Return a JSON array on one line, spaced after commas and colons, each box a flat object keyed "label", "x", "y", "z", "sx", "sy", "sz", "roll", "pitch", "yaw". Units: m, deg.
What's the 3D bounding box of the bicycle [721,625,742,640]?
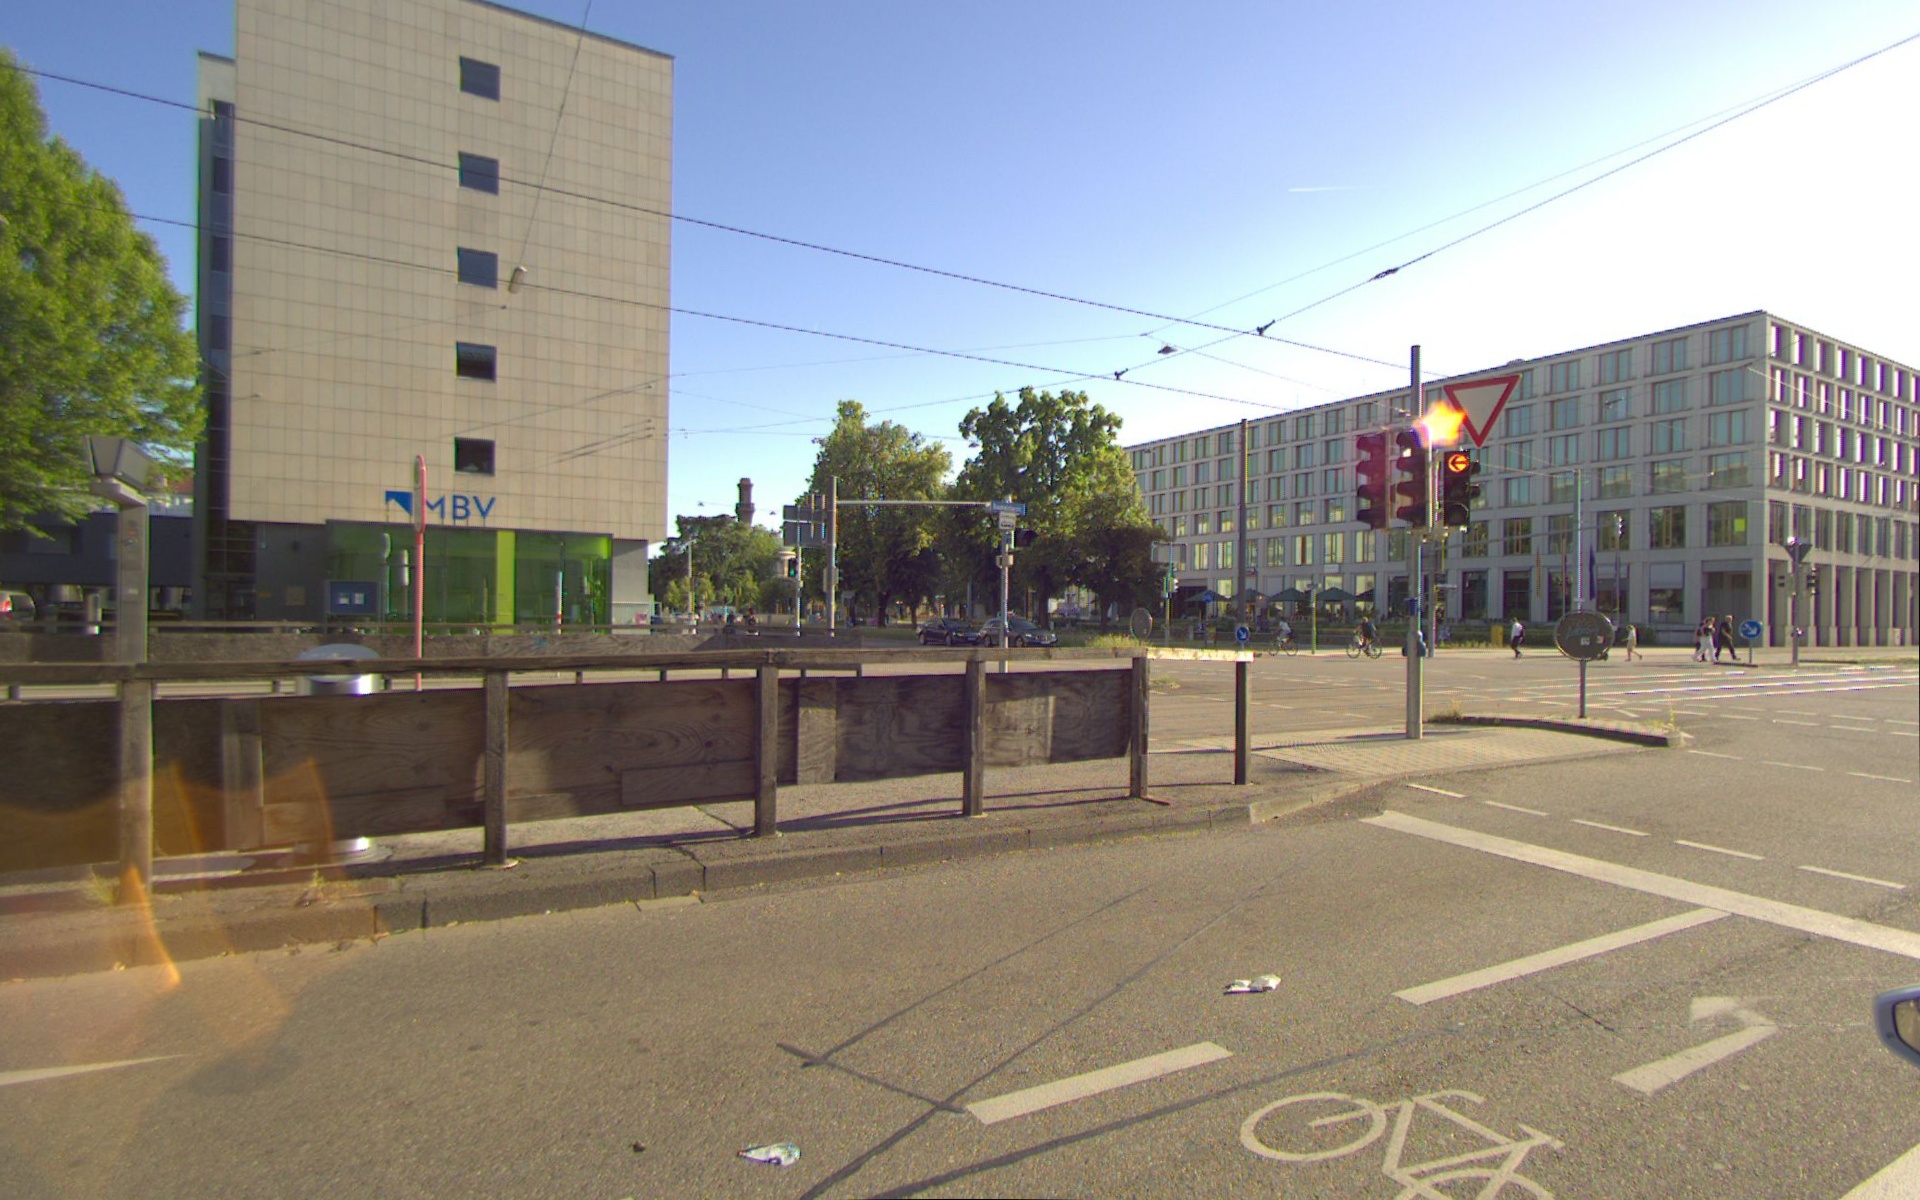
[{"label": "bicycle", "x": -15.444, "y": 2.169, "z": 67.833, "sx": 0.818, "sy": 0.973, "sz": 2.132, "roll": 1, "pitch": -1, "yaw": -31}]

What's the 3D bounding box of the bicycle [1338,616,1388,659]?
[{"label": "bicycle", "x": 16.920, "y": 1.578, "z": 42.232, "sx": 0.593, "sy": 1.758, "sz": 1.879, "roll": 1, "pitch": -1, "yaw": -44}]

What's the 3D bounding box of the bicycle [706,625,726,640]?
[{"label": "bicycle", "x": -16.331, "y": 2.152, "z": 67.069, "sx": 0.669, "sy": 0.973, "sz": 2.131, "roll": 1, "pitch": -1, "yaw": -32}]

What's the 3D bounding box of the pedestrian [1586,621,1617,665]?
[{"label": "pedestrian", "x": 27.050, "y": 1.798, "z": 42.351, "sx": 0.654, "sy": 1.827, "sz": 0.868, "roll": 1, "pitch": -1, "yaw": -24}]

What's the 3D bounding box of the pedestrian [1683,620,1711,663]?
[{"label": "pedestrian", "x": 29.313, "y": 1.649, "z": 39.949, "sx": 0.614, "sy": 1.666, "sz": 0.691, "roll": 1, "pitch": -1, "yaw": -29}]

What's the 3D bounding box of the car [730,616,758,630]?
[{"label": "car", "x": -22.498, "y": 2.379, "z": 104.433, "sx": 1.614, "sy": 1.452, "sz": 4.021, "roll": 3, "pitch": -2, "yaw": -31}]

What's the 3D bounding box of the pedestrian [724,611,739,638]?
[{"label": "pedestrian", "x": -15.431, "y": 1.648, "z": 67.828, "sx": 0.818, "sy": 1.829, "sz": 0.754, "roll": 1, "pitch": -1, "yaw": -31}]

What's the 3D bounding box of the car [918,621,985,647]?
[{"label": "car", "x": -0.506, "y": 1.794, "z": 53.356, "sx": 1.755, "sy": 1.311, "sz": 4.209, "roll": 1, "pitch": -1, "yaw": -30}]

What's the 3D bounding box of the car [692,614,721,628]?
[{"label": "car", "x": -29.260, "y": 2.405, "z": 115.840, "sx": 1.978, "sy": 1.433, "sz": 4.710, "roll": 4, "pitch": -2, "yaw": -31}]

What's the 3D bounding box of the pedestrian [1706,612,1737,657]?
[{"label": "pedestrian", "x": 30.479, "y": 1.372, "z": 40.202, "sx": 0.668, "sy": 1.784, "sz": 0.746, "roll": 2, "pitch": -2, "yaw": -25}]

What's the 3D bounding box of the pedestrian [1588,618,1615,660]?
[{"label": "pedestrian", "x": 28.072, "y": 1.692, "z": 43.970, "sx": 0.706, "sy": 1.827, "sz": 0.737, "roll": 1, "pitch": -1, "yaw": -24}]

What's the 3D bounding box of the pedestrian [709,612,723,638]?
[{"label": "pedestrian", "x": -16.276, "y": 1.670, "z": 67.001, "sx": 0.666, "sy": 1.739, "sz": 0.754, "roll": 1, "pitch": -1, "yaw": -32}]

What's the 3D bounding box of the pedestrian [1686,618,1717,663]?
[{"label": "pedestrian", "x": 27.996, "y": 1.520, "z": 37.926, "sx": 0.615, "sy": 1.666, "sz": 0.787, "roll": 1, "pitch": -1, "yaw": -34}]

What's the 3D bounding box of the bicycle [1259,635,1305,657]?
[{"label": "bicycle", "x": 14.658, "y": 2.081, "z": 45.782, "sx": 0.569, "sy": 0.945, "sz": 2.049, "roll": 1, "pitch": -1, "yaw": -37}]

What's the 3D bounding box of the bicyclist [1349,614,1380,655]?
[{"label": "bicyclist", "x": 16.982, "y": 1.438, "z": 42.171, "sx": 0.593, "sy": 1.662, "sz": 1.064, "roll": 1, "pitch": -1, "yaw": -44}]

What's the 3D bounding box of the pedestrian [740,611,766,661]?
[{"label": "pedestrian", "x": -7.259, "y": 1.259, "z": 35.183, "sx": 0.814, "sy": 1.739, "sz": 0.757, "roll": 1, "pitch": -1, "yaw": -18}]

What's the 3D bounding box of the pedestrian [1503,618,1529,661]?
[{"label": "pedestrian", "x": 25.204, "y": 1.779, "z": 45.520, "sx": 0.628, "sy": 1.943, "sz": 0.800, "roll": 1, "pitch": -1, "yaw": -24}]

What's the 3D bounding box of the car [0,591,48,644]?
[{"label": "car", "x": -27.738, "y": 0.448, "z": 27.745, "sx": 3.371, "sy": 1.431, "sz": 1.562, "roll": 2, "pitch": 0, "yaw": -20}]

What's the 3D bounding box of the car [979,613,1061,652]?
[{"label": "car", "x": 2.797, "y": 1.509, "z": 47.817, "sx": 1.829, "sy": 1.602, "sz": 4.496, "roll": 1, "pitch": 1, "yaw": -28}]

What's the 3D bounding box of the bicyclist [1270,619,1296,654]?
[{"label": "bicyclist", "x": 14.703, "y": 1.656, "z": 45.739, "sx": 0.569, "sy": 1.581, "sz": 0.967, "roll": 1, "pitch": -1, "yaw": -37}]

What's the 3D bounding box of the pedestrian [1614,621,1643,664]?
[{"label": "pedestrian", "x": 28.577, "y": 1.814, "z": 42.939, "sx": 0.525, "sy": 1.827, "sz": 0.867, "roll": 1, "pitch": -1, "yaw": -24}]
